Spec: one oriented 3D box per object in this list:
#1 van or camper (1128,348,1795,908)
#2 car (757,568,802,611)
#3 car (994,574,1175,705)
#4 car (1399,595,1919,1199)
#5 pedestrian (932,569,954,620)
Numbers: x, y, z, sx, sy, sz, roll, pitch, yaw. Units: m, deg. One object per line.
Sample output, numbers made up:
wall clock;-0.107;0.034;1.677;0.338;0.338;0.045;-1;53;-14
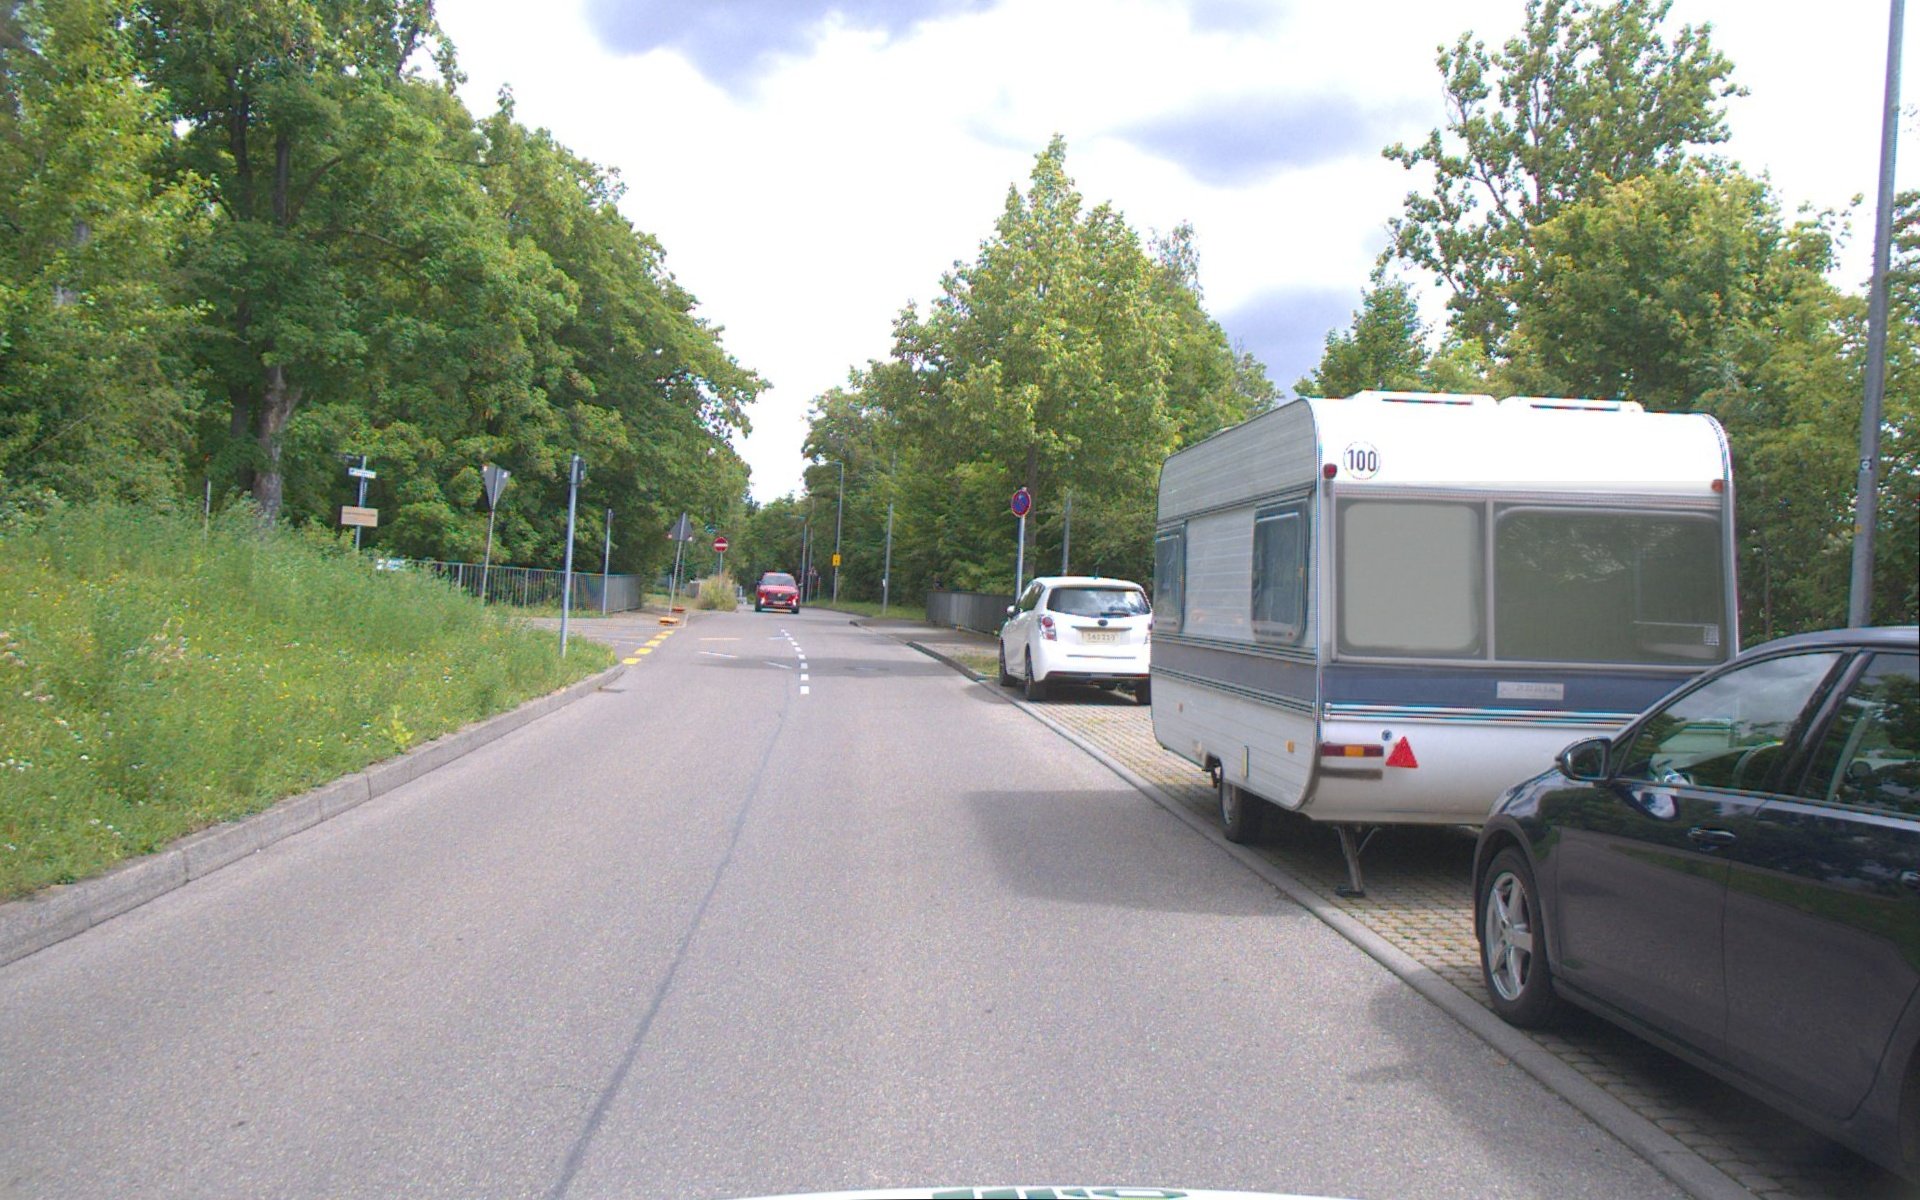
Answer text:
van or camper;2.645;0.137;10.340;2.308;2.598;5.070;1;0;-4
car;-7.747;-0.481;70.846;1.808;1.687;4.216;2;1;-7
car;1.636;0.477;23.244;1.770;1.627;4.367;1;1;-6
car;2.831;0.763;4.725;1.649;1.476;4.476;2;0;-4
pedestrian;-0.625;-0.209;60.118;0.577;1.814;0.679;3;-2;-16
